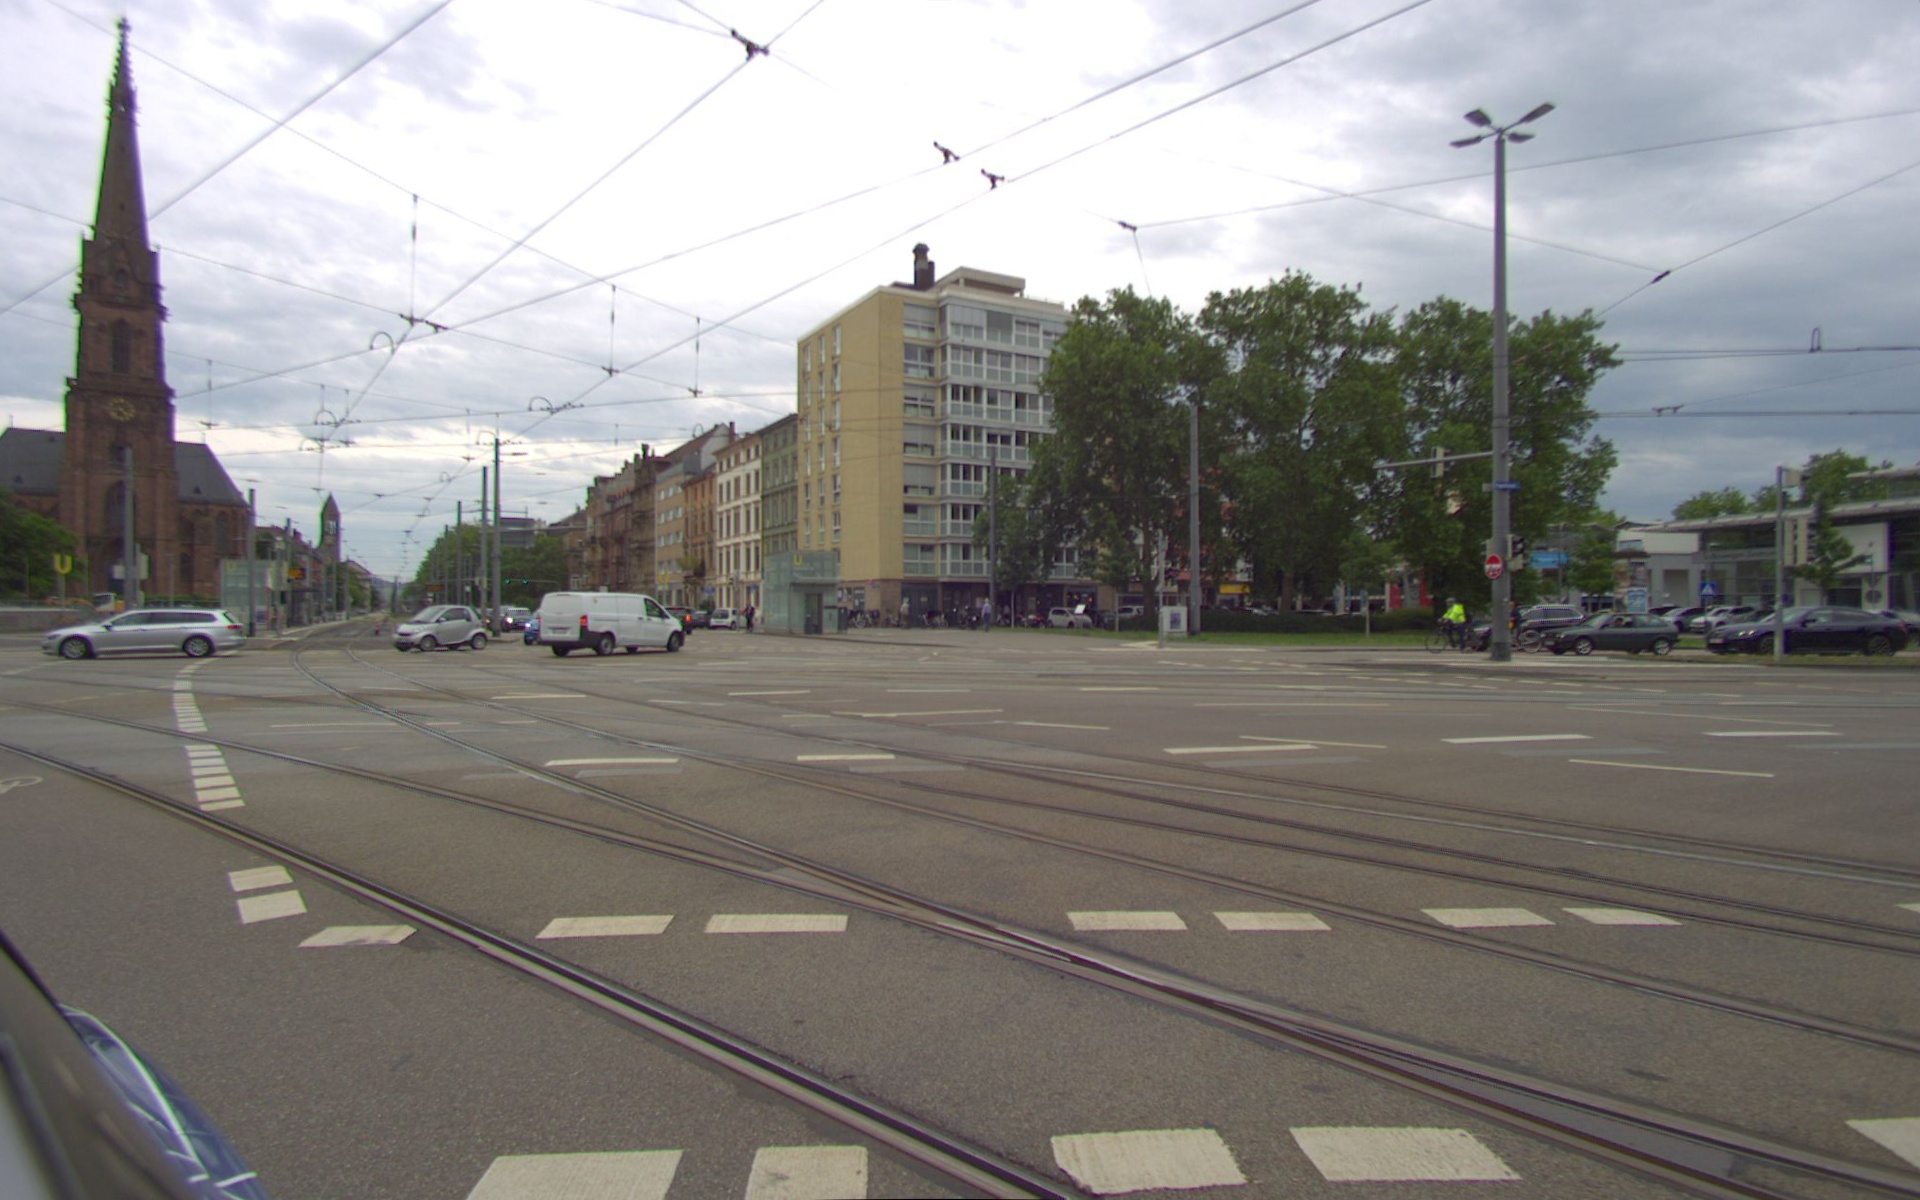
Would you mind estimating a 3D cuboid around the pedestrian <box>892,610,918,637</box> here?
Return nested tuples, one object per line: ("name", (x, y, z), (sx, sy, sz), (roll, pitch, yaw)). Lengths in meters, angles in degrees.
("pedestrian", (-3.365, 1.440, 61.893), (1.023, 1.652, 1.335), (1, -1, -34))

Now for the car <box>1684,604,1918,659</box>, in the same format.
("car", (22.863, 0.843, 27.669), (4.599, 1.431, 1.999), (0, -1, 2))

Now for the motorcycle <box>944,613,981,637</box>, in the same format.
("motorcycle", (0.132, 1.362, 55.606), (0.850, 1.187, 2.555), (0, 0, -29))

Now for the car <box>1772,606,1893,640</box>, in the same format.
("car", (37.810, 0.993, 43.925), (3.691, 1.431, 1.638), (0, -1, 6))

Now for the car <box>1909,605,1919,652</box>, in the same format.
("car", (31.659, 0.863, 30.558), (4.217, 1.431, 1.638), (0, -1, 6))

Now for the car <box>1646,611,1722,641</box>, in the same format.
("car", (49.421, 1.761, 69.116), (3.936, 2.029, 2.004), (0, 0, -9))

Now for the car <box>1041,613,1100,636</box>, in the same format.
("car", (7.639, 1.700, 70.129), (1.966, 1.564, 4.011), (1, -1, -33))

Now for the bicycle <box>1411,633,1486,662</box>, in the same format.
("bicycle", (16.362, 1.592, 33.918), (2.196, 0.937, 0.519), (-1, -1, 7))

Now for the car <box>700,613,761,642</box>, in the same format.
("car", (-15.530, 1.830, 68.617), (2.070, 1.768, 3.965), (1, 0, 25))

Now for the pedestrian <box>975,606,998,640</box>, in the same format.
("pedestrian", (1.370, 1.190, 52.393), (0.696, 1.732, 0.917), (0, 0, -42))

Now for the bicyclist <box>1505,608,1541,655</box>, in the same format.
("bicyclist", (18.692, 1.030, 33.599), (0.846, 1.519, 0.566), (-1, -1, 7))

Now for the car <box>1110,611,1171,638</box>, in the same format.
("car", (12.579, 1.689, 70.741), (1.967, 1.719, 4.011), (0, 0, -34))

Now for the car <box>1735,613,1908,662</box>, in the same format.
("car", (25.751, 1.098, 30.346), (3.687, 1.431, 1.639), (0, -1, 2))

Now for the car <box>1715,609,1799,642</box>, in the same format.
("car", (50.208, 1.607, 63.777), (3.936, 2.029, 2.004), (0, 0, -9))

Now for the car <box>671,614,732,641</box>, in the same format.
("car", (-17.961, 1.868, 70.467), (2.070, 1.768, 3.965), (1, 0, 25))

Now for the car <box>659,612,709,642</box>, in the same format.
("car", (-14.306, 1.388, 52.364), (1.744, 1.479, 4.013), (0, -1, -27))

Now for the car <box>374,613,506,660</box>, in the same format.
("car", (-17.824, 1.209, 34.776), (1.998, 1.504, 3.573), (0, 0, 39))

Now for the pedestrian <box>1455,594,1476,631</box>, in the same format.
("pedestrian", (26.175, 0.628, 52.402), (0.854, 1.914, 0.706), (0, 0, 16))

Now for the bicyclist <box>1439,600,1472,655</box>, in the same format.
("bicyclist", (16.585, 0.915, 33.883), (0.788, 1.817, 0.628), (0, -1, 7))

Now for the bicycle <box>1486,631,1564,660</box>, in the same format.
("bicycle", (18.758, 1.502, 33.603), (2.196, 0.933, 0.519), (-1, -1, 7))

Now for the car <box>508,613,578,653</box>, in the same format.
("car", (-16.735, 1.296, 40.538), (1.966, 1.504, 4.070), (0, -1, -32))

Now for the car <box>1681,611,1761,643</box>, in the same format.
("car", (50.105, 1.749, 66.658), (3.936, 2.029, 2.004), (0, 0, -9))

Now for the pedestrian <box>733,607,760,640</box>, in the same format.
("pedestrian", (-11.830, 1.316, 56.086), (1.161, 1.798, 1.043), (1, -1, -35))

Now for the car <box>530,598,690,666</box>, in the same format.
("car", (-10.675, 0.886, 31.335), (1.910, 1.896, 5.053), (1, 0, 21))

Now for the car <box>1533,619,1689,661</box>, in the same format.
("car", (20.057, 1.229, 31.296), (3.687, 1.256, 1.691), (0, -1, 2))

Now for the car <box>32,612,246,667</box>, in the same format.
("car", (-23.811, 1.133, 29.626), (4.599, 1.505, 2.006), (0, -3, -32))

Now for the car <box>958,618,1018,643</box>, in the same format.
("car", (1.783, 1.963, 65.734), (1.966, 1.564, 4.011), (1, -1, -33))

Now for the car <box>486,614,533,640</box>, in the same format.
("car", (-26.869, 1.584, 60.295), (1.966, 1.453, 4.011), (1, -1, -32))
